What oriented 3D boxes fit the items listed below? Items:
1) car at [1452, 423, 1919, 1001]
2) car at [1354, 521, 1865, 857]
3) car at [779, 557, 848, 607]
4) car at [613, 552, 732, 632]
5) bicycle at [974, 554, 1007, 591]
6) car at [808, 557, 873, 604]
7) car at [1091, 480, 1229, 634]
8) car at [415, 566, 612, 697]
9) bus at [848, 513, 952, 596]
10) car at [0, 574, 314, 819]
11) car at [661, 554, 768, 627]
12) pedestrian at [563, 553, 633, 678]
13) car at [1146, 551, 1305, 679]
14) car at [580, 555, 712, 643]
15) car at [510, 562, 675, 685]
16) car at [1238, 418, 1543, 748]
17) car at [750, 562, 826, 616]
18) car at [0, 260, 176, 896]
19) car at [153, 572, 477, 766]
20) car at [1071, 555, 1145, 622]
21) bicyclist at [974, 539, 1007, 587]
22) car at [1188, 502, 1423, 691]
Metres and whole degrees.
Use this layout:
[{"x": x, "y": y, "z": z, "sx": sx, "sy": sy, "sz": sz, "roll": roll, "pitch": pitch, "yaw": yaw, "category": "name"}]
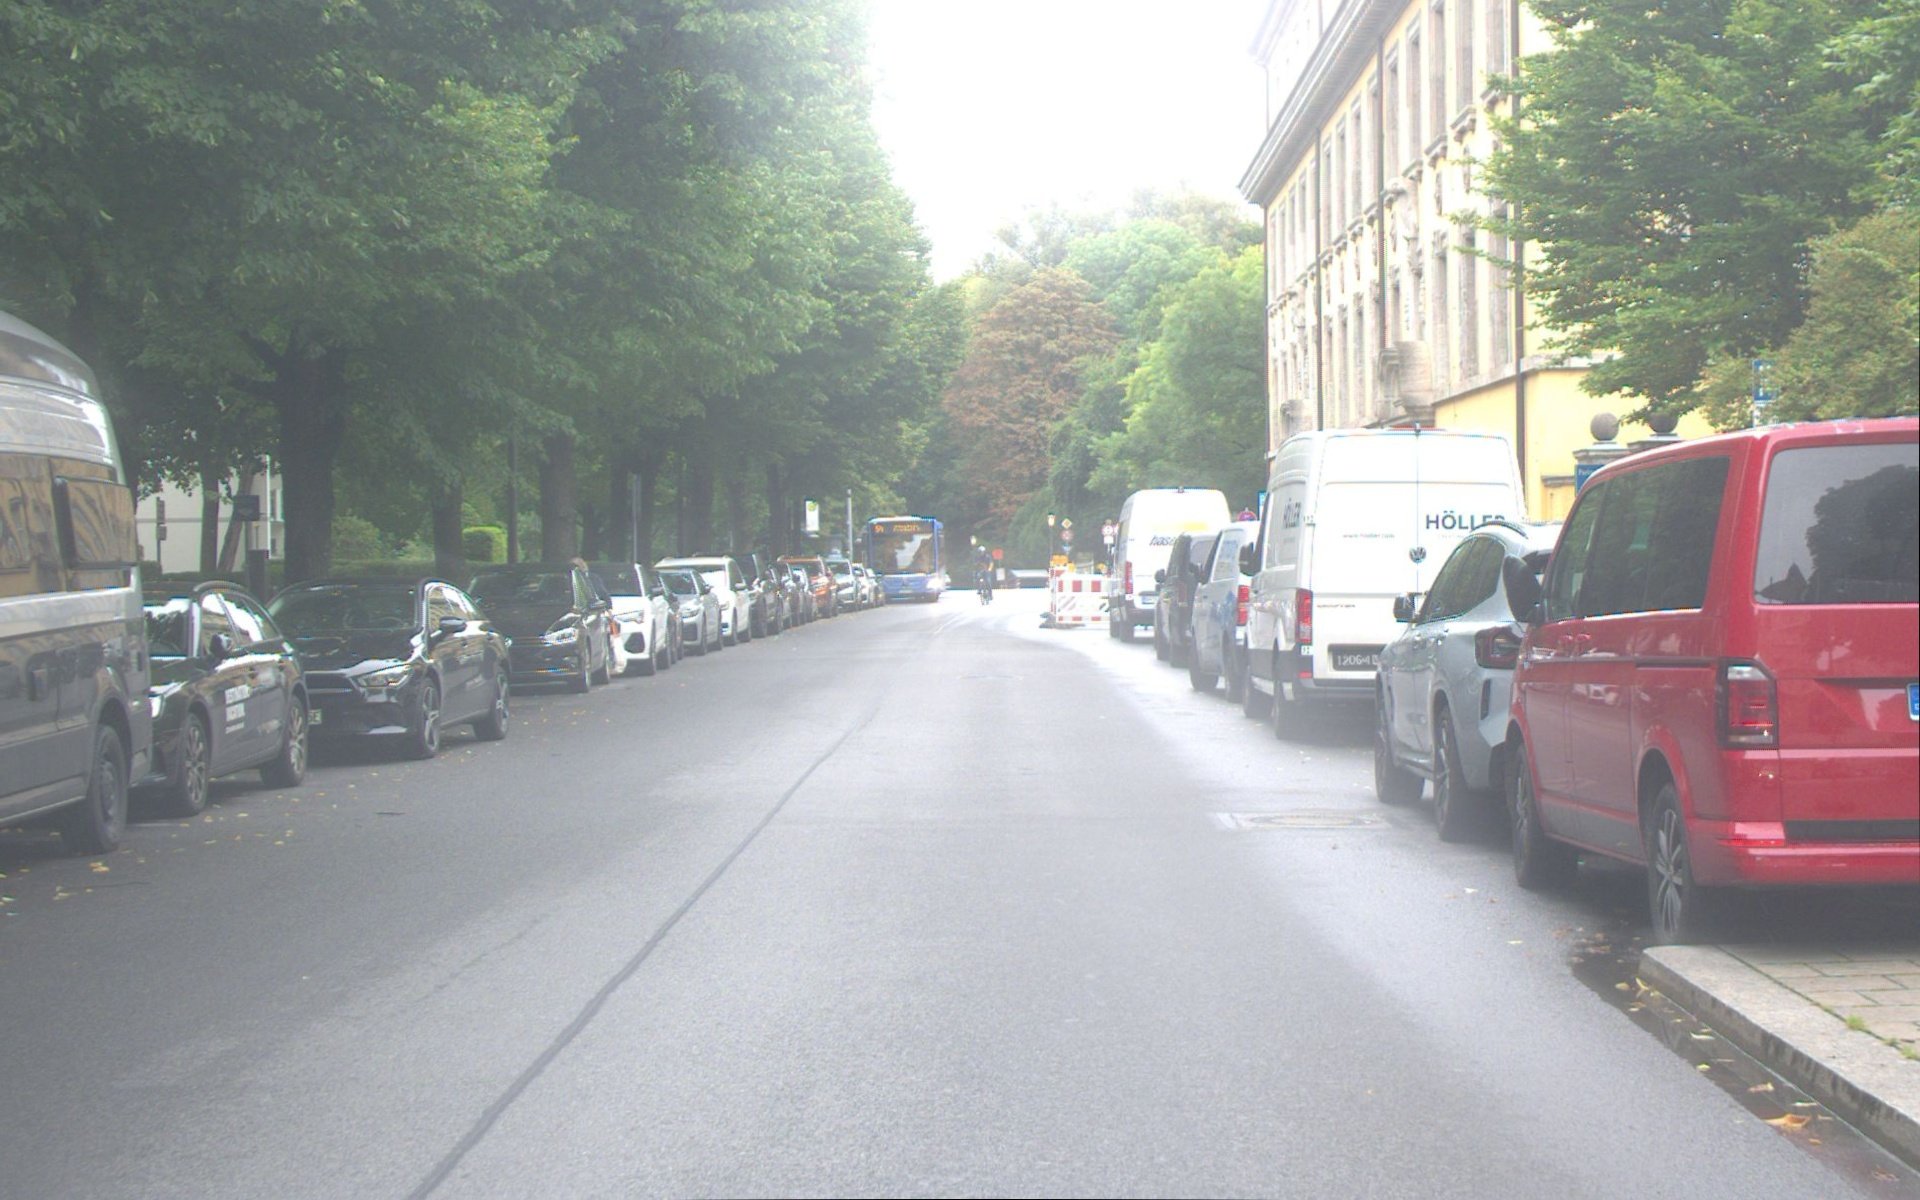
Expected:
[{"x": 3.378, "y": 0.337, "z": 14.011, "sx": 1.911, "sy": 1.930, "sz": 4.969, "roll": 0, "pitch": 1, "yaw": -1, "category": "car"}, {"x": 3.462, "y": 0.406, "z": 19.224, "sx": 1.993, "sy": 1.629, "sz": 4.564, "roll": -1, "pitch": 1, "yaw": 0, "category": "car"}, {"x": -4.332, "y": -0.551, "z": 101.907, "sx": 1.993, "sy": 1.415, "sz": 4.000, "roll": 0, "pitch": 1, "yaw": -2, "category": "car"}, {"x": -5.290, "y": -0.165, "z": 63.658, "sx": 1.993, "sy": 1.415, "sz": 4.000, "roll": 0, "pitch": 1, "yaw": -2, "category": "car"}, {"x": 0.985, "y": -0.890, "z": 111.383, "sx": 1.021, "sy": 1.153, "sz": 2.485, "roll": -1, "pitch": 1, "yaw": 1, "category": "bicycle"}, {"x": -3.732, "y": -0.630, "z": 107.276, "sx": 1.993, "sy": 1.415, "sz": 4.000, "roll": 0, "pitch": 1, "yaw": -2, "category": "car"}, {"x": 3.519, "y": -0.774, "z": 61.221, "sx": 1.839, "sy": 2.613, "sz": 4.385, "roll": -1, "pitch": 1, "yaw": -5, "category": "car"}, {"x": -5.375, "y": 0.346, "z": 41.856, "sx": 1.993, "sy": 1.481, "sz": 4.130, "roll": 0, "pitch": 1, "yaw": -2, "category": "car"}, {"x": -2.230, "y": -1.642, "z": 124.133, "sx": 2.937, "sy": 2.909, "sz": 8.241, "roll": 0, "pitch": 1, "yaw": -7, "category": "bus"}, {"x": -5.517, "y": 0.561, "z": 22.388, "sx": 1.993, "sy": 1.415, "sz": 4.000, "roll": 0, "pitch": 1, "yaw": -2, "category": "car"}, {"x": -4.913, "y": -0.219, "z": 69.222, "sx": 1.993, "sy": 1.415, "sz": 4.000, "roll": 0, "pitch": 1, "yaw": -2, "category": "car"}, {"x": -4.678, "y": 0.191, "z": 44.415, "sx": 0.883, "sy": 1.592, "sz": 0.823, "roll": 0, "pitch": 1, "yaw": -7, "category": "pedestrian"}, {"x": 3.645, "y": 0.169, "z": 47.774, "sx": 1.794, "sy": 1.673, "sz": 4.000, "roll": -1, "pitch": 1, "yaw": -1, "category": "car"}, {"x": -5.266, "y": -0.049, "z": 58.013, "sx": 1.993, "sy": 1.415, "sz": 4.000, "roll": 0, "pitch": 1, "yaw": -2, "category": "car"}, {"x": -5.084, "y": 0.288, "z": 48.049, "sx": 1.993, "sy": 1.614, "sz": 4.130, "roll": 0, "pitch": 1, "yaw": -2, "category": "car"}, {"x": 3.577, "y": -0.174, "z": 29.521, "sx": 1.993, "sy": 2.549, "sz": 5.430, "roll": -1, "pitch": 1, "yaw": 1, "category": "car"}, {"x": -4.623, "y": -0.314, "z": 92.861, "sx": 1.993, "sy": 1.415, "sz": 4.000, "roll": 0, "pitch": 1, "yaw": -2, "category": "car"}, {"x": -5.610, "y": -0.103, "z": 16.626, "sx": 2.172, "sy": 2.992, "sz": 6.233, "roll": -1, "pitch": 1, "yaw": 0, "category": "car"}, {"x": -5.145, "y": 0.503, "z": 27.968, "sx": 1.993, "sy": 1.415, "sz": 4.130, "roll": 0, "pitch": 1, "yaw": -2, "category": "car"}, {"x": 4.013, "y": -0.337, "z": 92.558, "sx": 1.805, "sy": 1.730, "sz": 3.999, "roll": -1, "pitch": 1, "yaw": 5, "category": "car"}, {"x": 0.994, "y": -1.192, "z": 111.525, "sx": 1.021, "sy": 1.540, "sz": 1.257, "roll": -1, "pitch": 1, "yaw": 1, "category": "bicyclist"}, {"x": 3.612, "y": -0.061, "z": 36.580, "sx": 1.993, "sy": 1.876, "sz": 4.000, "roll": -1, "pitch": 1, "yaw": -1, "category": "car"}]
